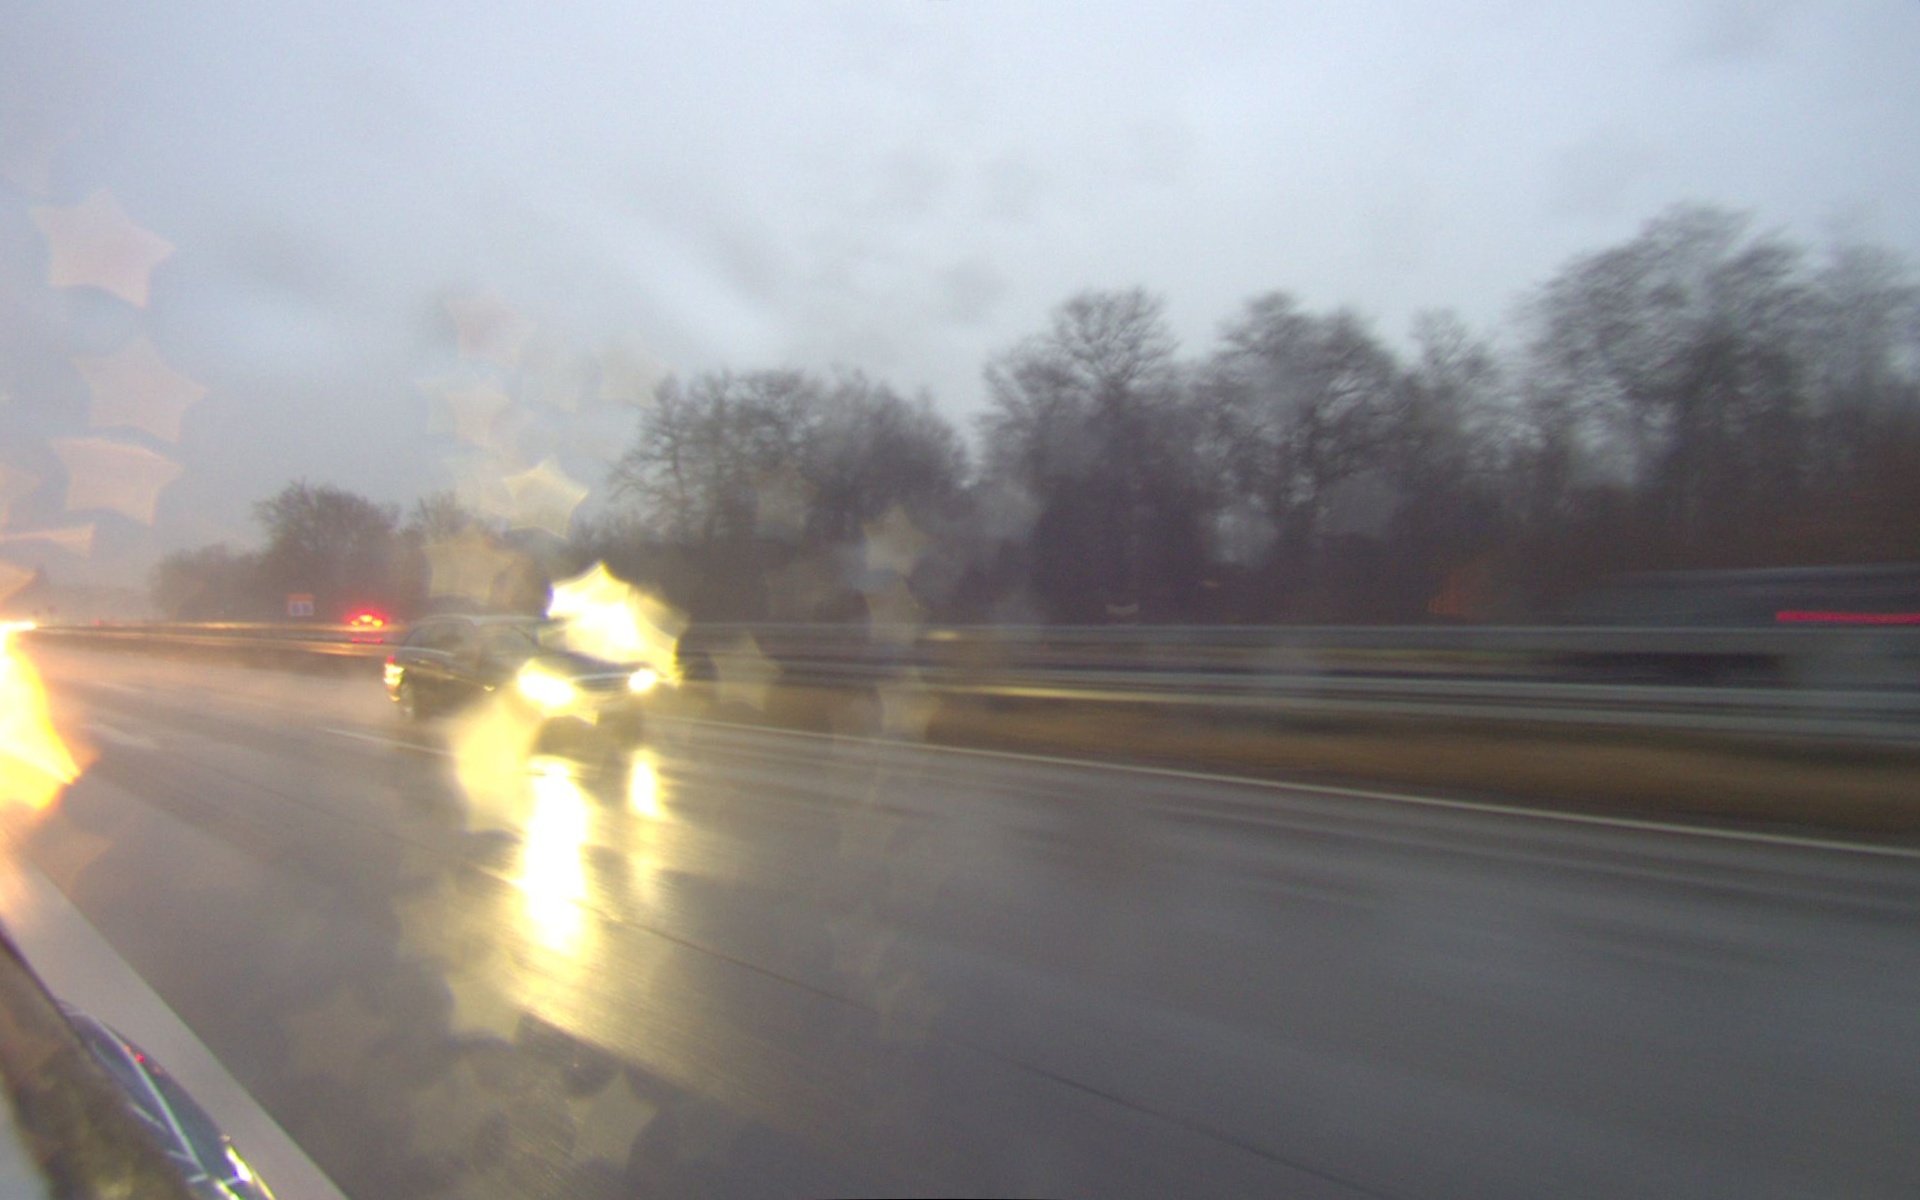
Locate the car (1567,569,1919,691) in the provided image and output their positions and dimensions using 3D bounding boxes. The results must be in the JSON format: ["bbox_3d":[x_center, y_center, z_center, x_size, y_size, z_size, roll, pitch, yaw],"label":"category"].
[{"bbox_3d":[10.264,0.316,13.204,3.840,1.386,1.558,1,2,40],"label":"car"}]

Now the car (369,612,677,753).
[{"bbox_3d":[-5.754,0.965,13.092,4.408,1.479,1.781,-2,0,39],"label":"car"}]

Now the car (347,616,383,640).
[{"bbox_3d":[-40.006,1.872,68.042,1.720,1.498,4.010,-2,1,-35],"label":"car"}]
